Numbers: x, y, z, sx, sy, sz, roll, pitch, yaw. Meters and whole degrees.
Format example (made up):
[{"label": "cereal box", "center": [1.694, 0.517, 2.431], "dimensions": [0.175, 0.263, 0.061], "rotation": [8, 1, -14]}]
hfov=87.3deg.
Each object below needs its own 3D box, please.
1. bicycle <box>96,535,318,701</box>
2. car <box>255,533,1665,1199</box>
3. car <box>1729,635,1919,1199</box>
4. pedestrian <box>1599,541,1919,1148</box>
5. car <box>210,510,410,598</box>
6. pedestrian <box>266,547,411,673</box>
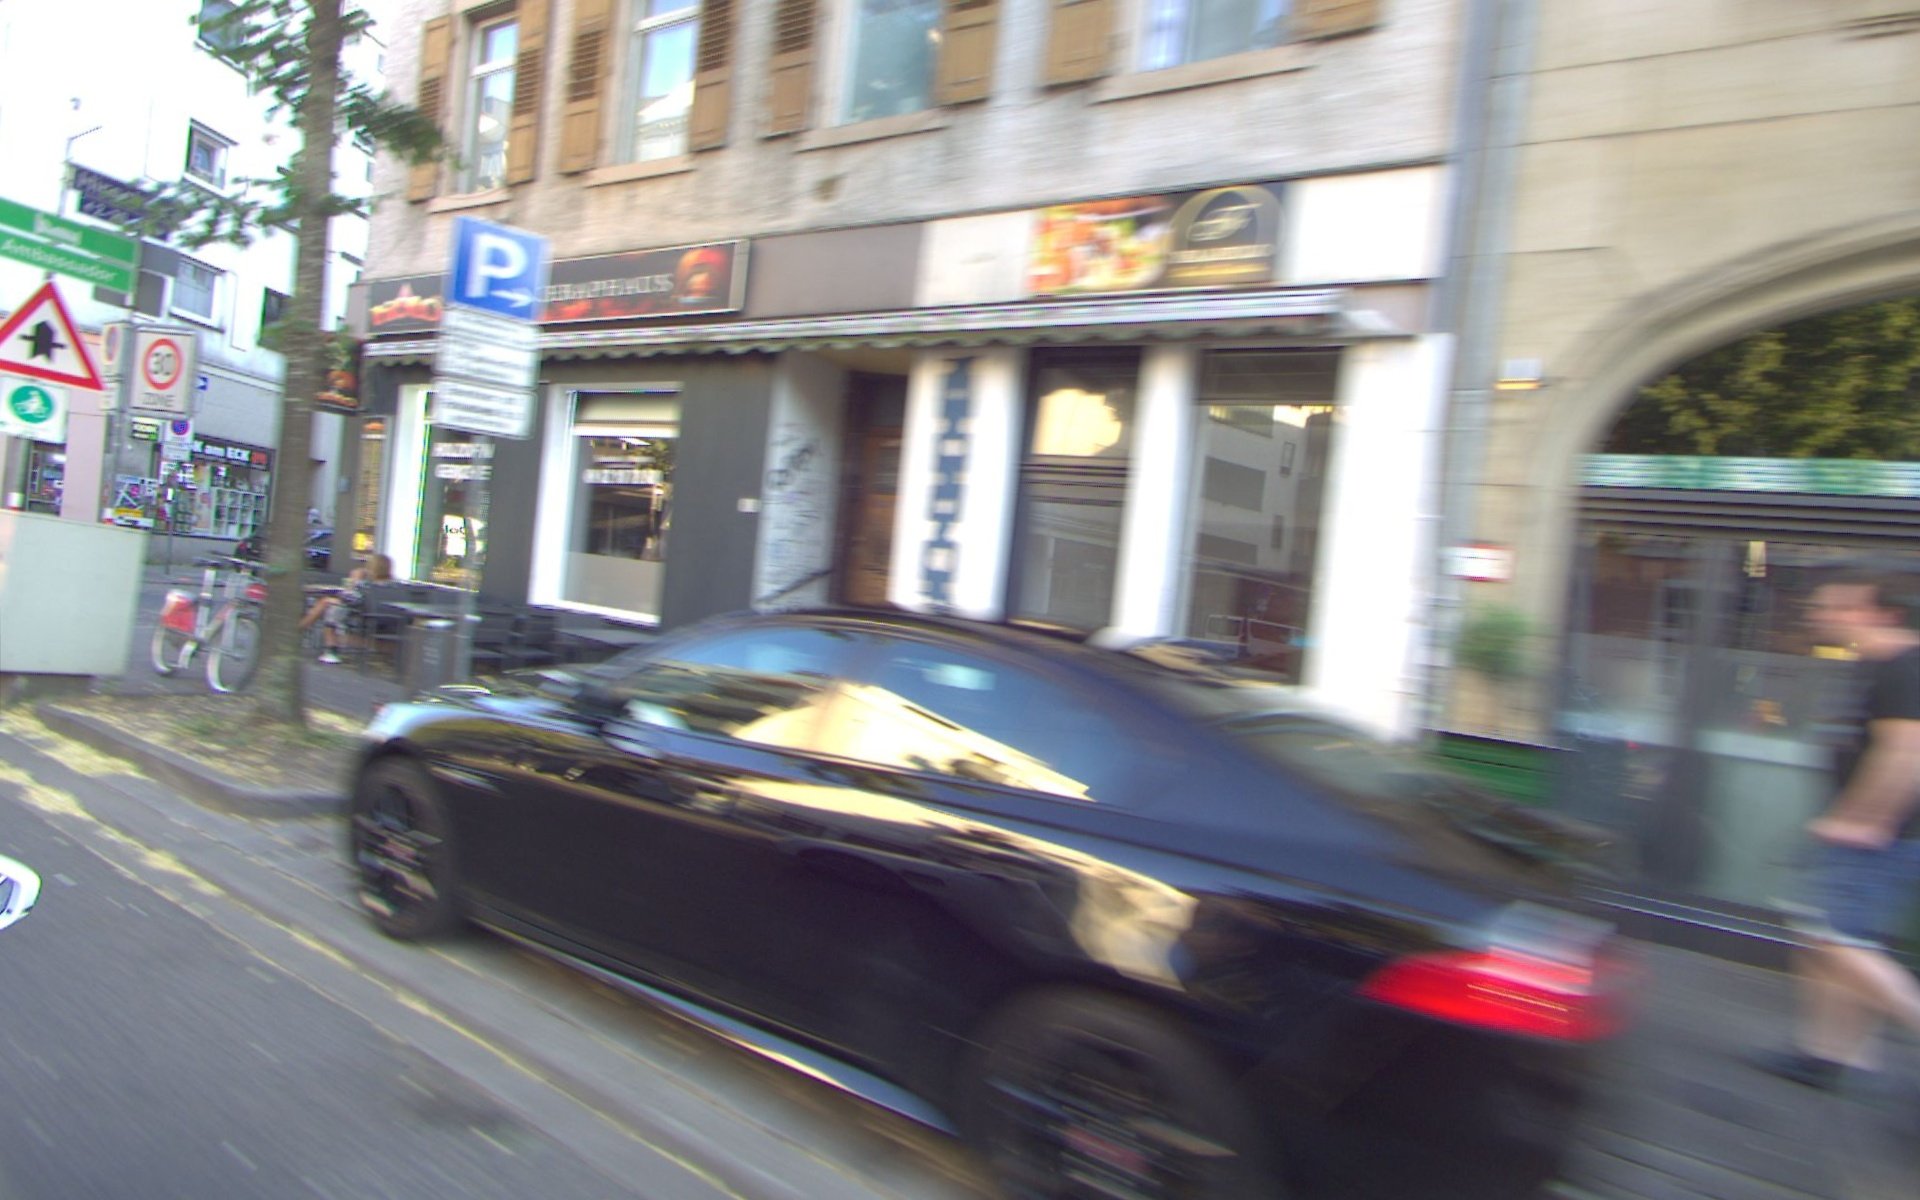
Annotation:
[{"label": "bicycle", "center": [-6.170, 0.119, 8.217], "dimensions": [1.868, 1.126, 0.778], "rotation": [6, 2, 32]}, {"label": "car", "center": [-0.385, 0.685, 3.545], "dimensions": [4.448, 1.394, 1.785], "rotation": [7, 3, 31]}, {"label": "car", "center": [3.539, 1.074, 1.123], "dimensions": [3.946, 1.596, 1.687], "rotation": [7, 3, 32]}, {"label": "pedestrian", "center": [3.105, 0.792, 3.660], "dimensions": [1.078, 1.879, 0.823], "rotation": [7, 3, 30]}, {"label": "car", "center": [-14.822, -0.979, 23.208], "dimensions": [1.755, 1.506, 3.678], "rotation": [9, 0, 8]}, {"label": "pedestrian", "center": [-6.377, 0.092, 10.311], "dimensions": [1.339, 1.156, 0.682], "rotation": [5, 1, 32]}]
